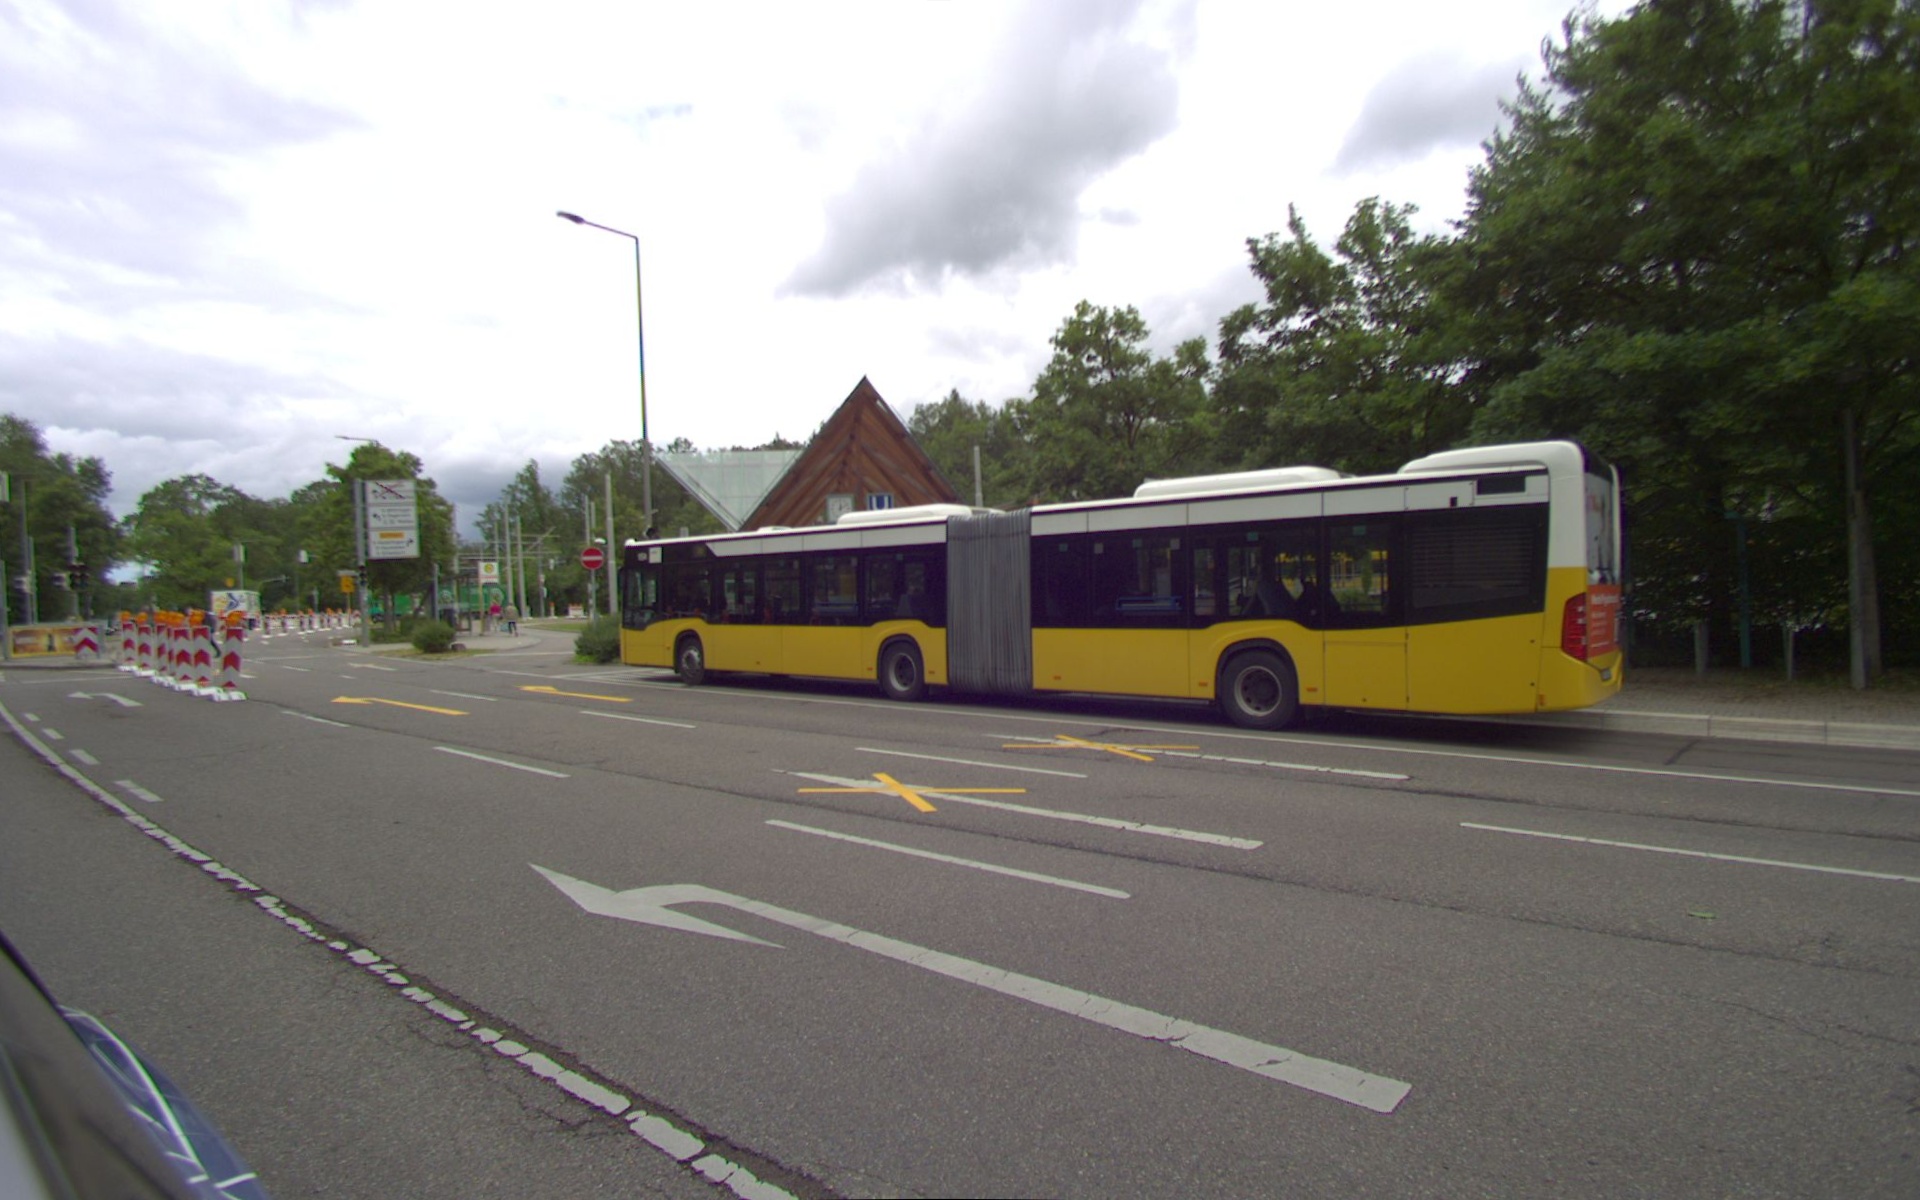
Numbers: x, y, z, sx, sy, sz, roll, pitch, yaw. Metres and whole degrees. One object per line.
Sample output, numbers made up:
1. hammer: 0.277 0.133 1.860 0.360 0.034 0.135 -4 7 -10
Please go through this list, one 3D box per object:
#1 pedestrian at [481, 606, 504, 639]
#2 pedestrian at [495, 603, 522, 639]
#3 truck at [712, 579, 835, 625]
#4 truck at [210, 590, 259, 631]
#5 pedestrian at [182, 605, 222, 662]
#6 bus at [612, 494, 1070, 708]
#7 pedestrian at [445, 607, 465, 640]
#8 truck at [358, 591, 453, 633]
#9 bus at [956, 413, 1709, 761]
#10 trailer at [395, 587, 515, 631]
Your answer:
1. pedestrian: -23.202 1.104 50.215 0.779 1.563 0.777 -3 1 -38
2. pedestrian: -20.378 0.948 45.662 0.862 1.536 0.769 -3 1 -7
3. truck: -10.338 0.117 55.957 6.263 2.186 2.587 -3 1 24
4. truck: -59.220 0.863 82.705 2.592 3.263 6.225 0 -1 -29
5. pedestrian: -25.508 1.115 34.067 0.979 1.822 0.768 -3 1 -37
6. bus: -2.755 0.079 19.227 9.755 3.150 2.868 -1 -1 41
7. pedestrian: -25.347 1.177 50.805 0.764 1.557 0.630 -3 2 -36
8. truck: -58.606 1.238 106.979 8.699 3.910 3.767 -3 1 18
9. bus: 4.157 -0.062 13.113 8.690 3.150 2.868 -1 -1 41
10. trailer: -52.348 0.935 104.923 11.770 3.910 3.767 -3 1 18
